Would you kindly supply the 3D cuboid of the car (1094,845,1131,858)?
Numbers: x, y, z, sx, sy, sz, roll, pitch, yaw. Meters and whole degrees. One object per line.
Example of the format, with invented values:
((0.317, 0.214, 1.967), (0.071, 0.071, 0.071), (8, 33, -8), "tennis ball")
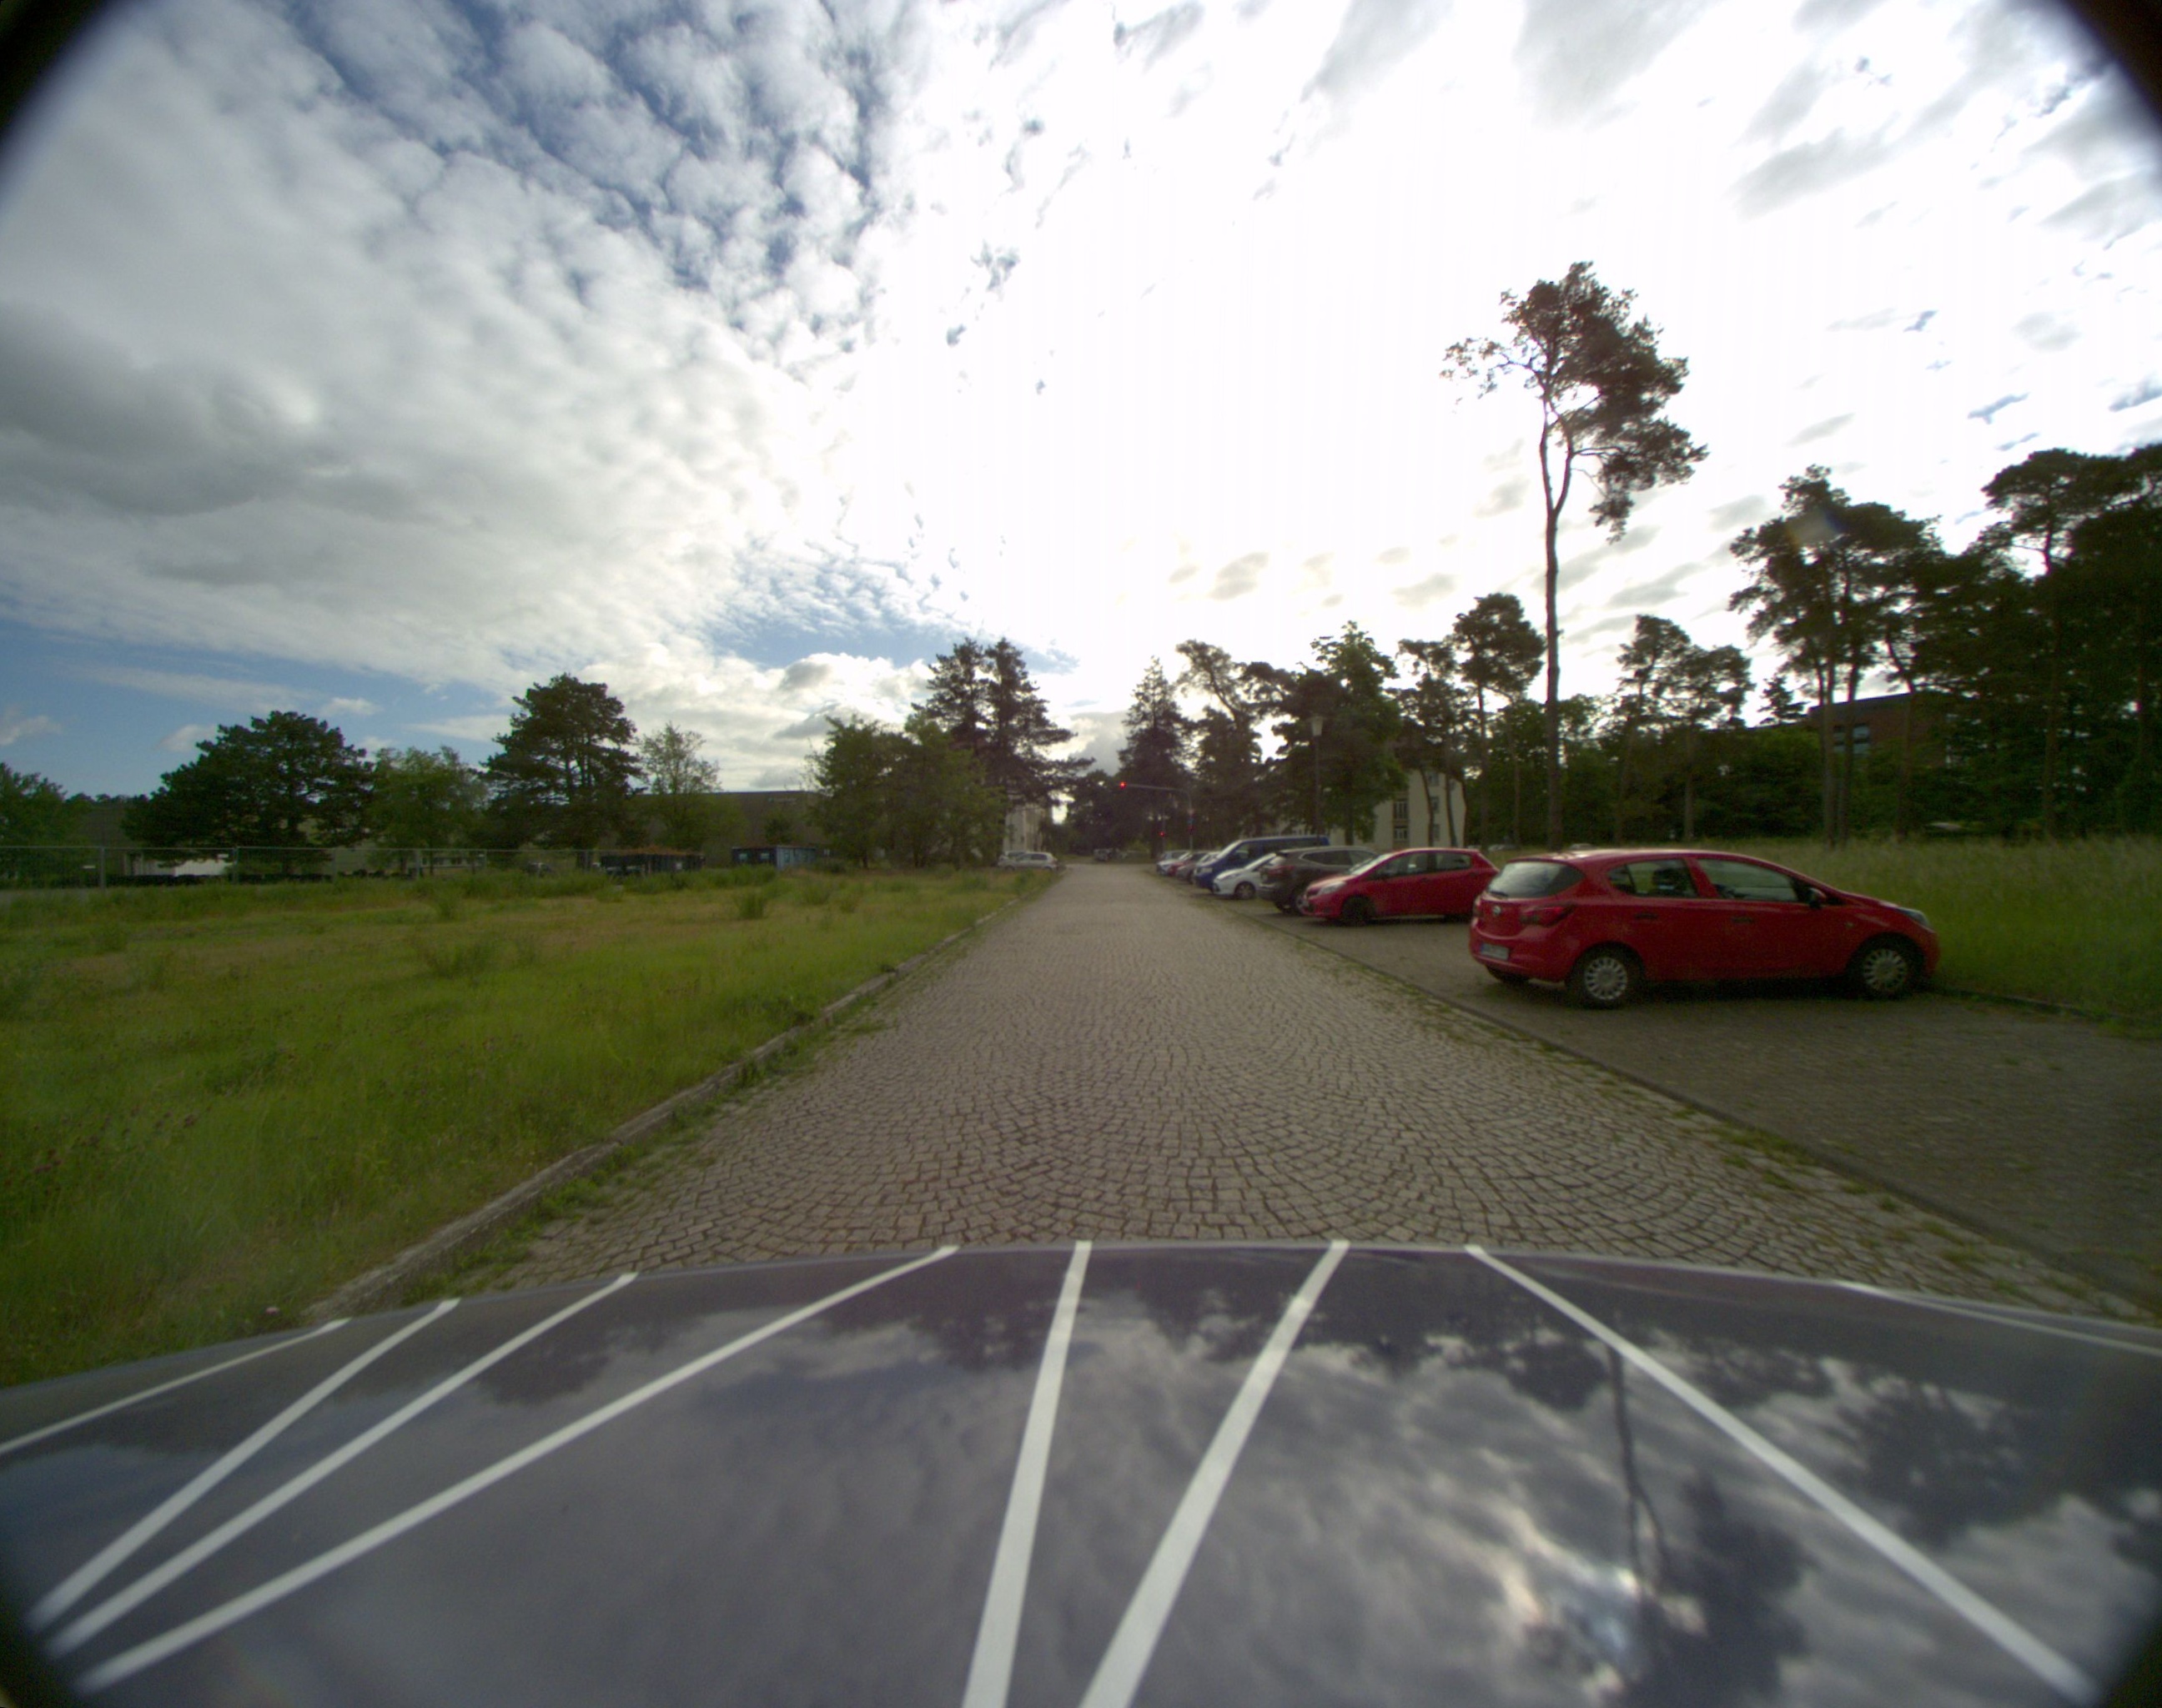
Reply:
((4.917, -0.367, 118.020), (5.366, 1.987, 2.289), (-1, 1, -7), "car")

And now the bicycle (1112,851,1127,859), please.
((5.134, 0.134, 100.669), (1.950, 1.059, 0.562), (-1, 1, 0), "bicycle")

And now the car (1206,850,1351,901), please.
((6.266, 0.655, 24.373), (4.177, 1.501, 1.781), (-1, 1, -1), "car")

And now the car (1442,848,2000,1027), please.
((6.143, 0.737, 7.706), (4.065, 1.516, 1.904), (-1, 1, 0), "car")

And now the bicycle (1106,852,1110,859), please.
((3.404, 0.223, 96.203), (0.459, 0.903, 1.663), (-1, 1, 5), "bicycle")

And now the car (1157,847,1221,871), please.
((7.190, 0.331, 50.781), (3.997, 1.534, 1.905), (-1, 1, 0), "car")

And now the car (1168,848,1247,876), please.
((7.137, 0.430, 43.034), (4.176, 1.468, 1.864), (-1, 1, 1), "car")

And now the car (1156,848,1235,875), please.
((6.778, 0.427, 45.340), (4.385, 1.499, 1.935), (-1, 1, -1), "car")

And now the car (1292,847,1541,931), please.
((6.612, 0.657, 15.327), (4.176, 1.501, 1.907), (-1, 1, 0), "car")

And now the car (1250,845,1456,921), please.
((6.341, 0.642, 18.075), (4.177, 1.613, 1.986), (-1, 1, -1), "car")

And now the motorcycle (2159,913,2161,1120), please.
((6.282, 0.877, 3.227), (2.280, 1.284, 0.719), (-2, 1, 2), "motorcycle")

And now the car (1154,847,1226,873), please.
((6.860, 0.361, 48.083), (4.261, 1.539, 1.935), (-1, 1, -2), "car")

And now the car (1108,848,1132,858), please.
((5.810, -0.101, 114.366), (3.439, 1.440, 1.913), (-1, 1, 0), "car")

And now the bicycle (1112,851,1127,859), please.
((5.159, 0.109, 101.801), (1.950, 1.059, 0.562), (-1, 1, 0), "bicycle")

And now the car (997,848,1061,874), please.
((-3.383, 0.450, 50.034), (4.084, 1.506, 1.804), (2, 1, -1), "car")

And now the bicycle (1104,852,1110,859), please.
((3.361, 0.202, 98.026), (0.459, 0.968, 1.663), (-1, 1, 10), "bicycle")

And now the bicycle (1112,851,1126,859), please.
((4.973, 0.159, 99.588), (1.898, 1.059, 0.616), (-1, 1, 0), "bicycle")

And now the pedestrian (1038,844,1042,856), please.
((-6.224, -0.593, 115.273), (0.568, 1.691, 0.532), (-1, 1, 5), "pedestrian")

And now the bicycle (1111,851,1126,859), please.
((5.044, 0.082, 102.925), (1.950, 1.059, 0.562), (-1, 1, 0), "bicycle")

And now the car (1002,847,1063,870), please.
((-3.674, 0.341, 58.021), (4.504, 1.556, 1.905), (2, 1, -1), "car")

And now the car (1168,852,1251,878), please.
((6.840, 0.571, 40.670), (4.176, 1.259, 1.831), (-1, 1, 3), "car")

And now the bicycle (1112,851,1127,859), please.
((5.040, 0.122, 100.142), (1.950, 1.104, 0.562), (-1, 1, 0), "bicycle")

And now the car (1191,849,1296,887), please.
((6.816, 0.573, 32.243), (4.077, 1.489, 1.846), (-1, 1, 2), "car")

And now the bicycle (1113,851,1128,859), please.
((5.233, 0.118, 101.314), (1.950, 1.059, 0.562), (-1, 1, 0), "bicycle")

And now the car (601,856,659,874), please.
((-40.812, 0.998, 68.776), (3.997, 1.474, 1.972), (-1, 1, -1), "car")

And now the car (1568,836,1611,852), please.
((61.272, -1.169, 91.524), (3.996, 1.796, 1.722), (-1, 1, 4), "car")

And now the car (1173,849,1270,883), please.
((6.433, 0.533, 35.093), (4.175, 1.483, 1.865), (-1, 1, 3), "car")

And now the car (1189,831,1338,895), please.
((6.375, 0.306, 26.954), (4.794, 2.110, 2.115), (-1, 1, 1), "car")

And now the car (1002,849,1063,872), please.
((-3.309, 0.458, 52.743), (4.084, 1.444, 1.885), (2, 1, -1), "car")

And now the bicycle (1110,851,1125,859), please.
((4.952, 0.072, 103.474), (1.950, 1.059, 0.562), (-1, 1, 0), "bicycle")

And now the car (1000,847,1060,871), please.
((-3.675, 0.362, 55.468), (4.251, 1.587, 1.884), (2, 1, -2), "car")

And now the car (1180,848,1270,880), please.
((7.139, 0.485, 38.004), (4.176, 1.473, 1.846), (-1, 1, 2), "car")
